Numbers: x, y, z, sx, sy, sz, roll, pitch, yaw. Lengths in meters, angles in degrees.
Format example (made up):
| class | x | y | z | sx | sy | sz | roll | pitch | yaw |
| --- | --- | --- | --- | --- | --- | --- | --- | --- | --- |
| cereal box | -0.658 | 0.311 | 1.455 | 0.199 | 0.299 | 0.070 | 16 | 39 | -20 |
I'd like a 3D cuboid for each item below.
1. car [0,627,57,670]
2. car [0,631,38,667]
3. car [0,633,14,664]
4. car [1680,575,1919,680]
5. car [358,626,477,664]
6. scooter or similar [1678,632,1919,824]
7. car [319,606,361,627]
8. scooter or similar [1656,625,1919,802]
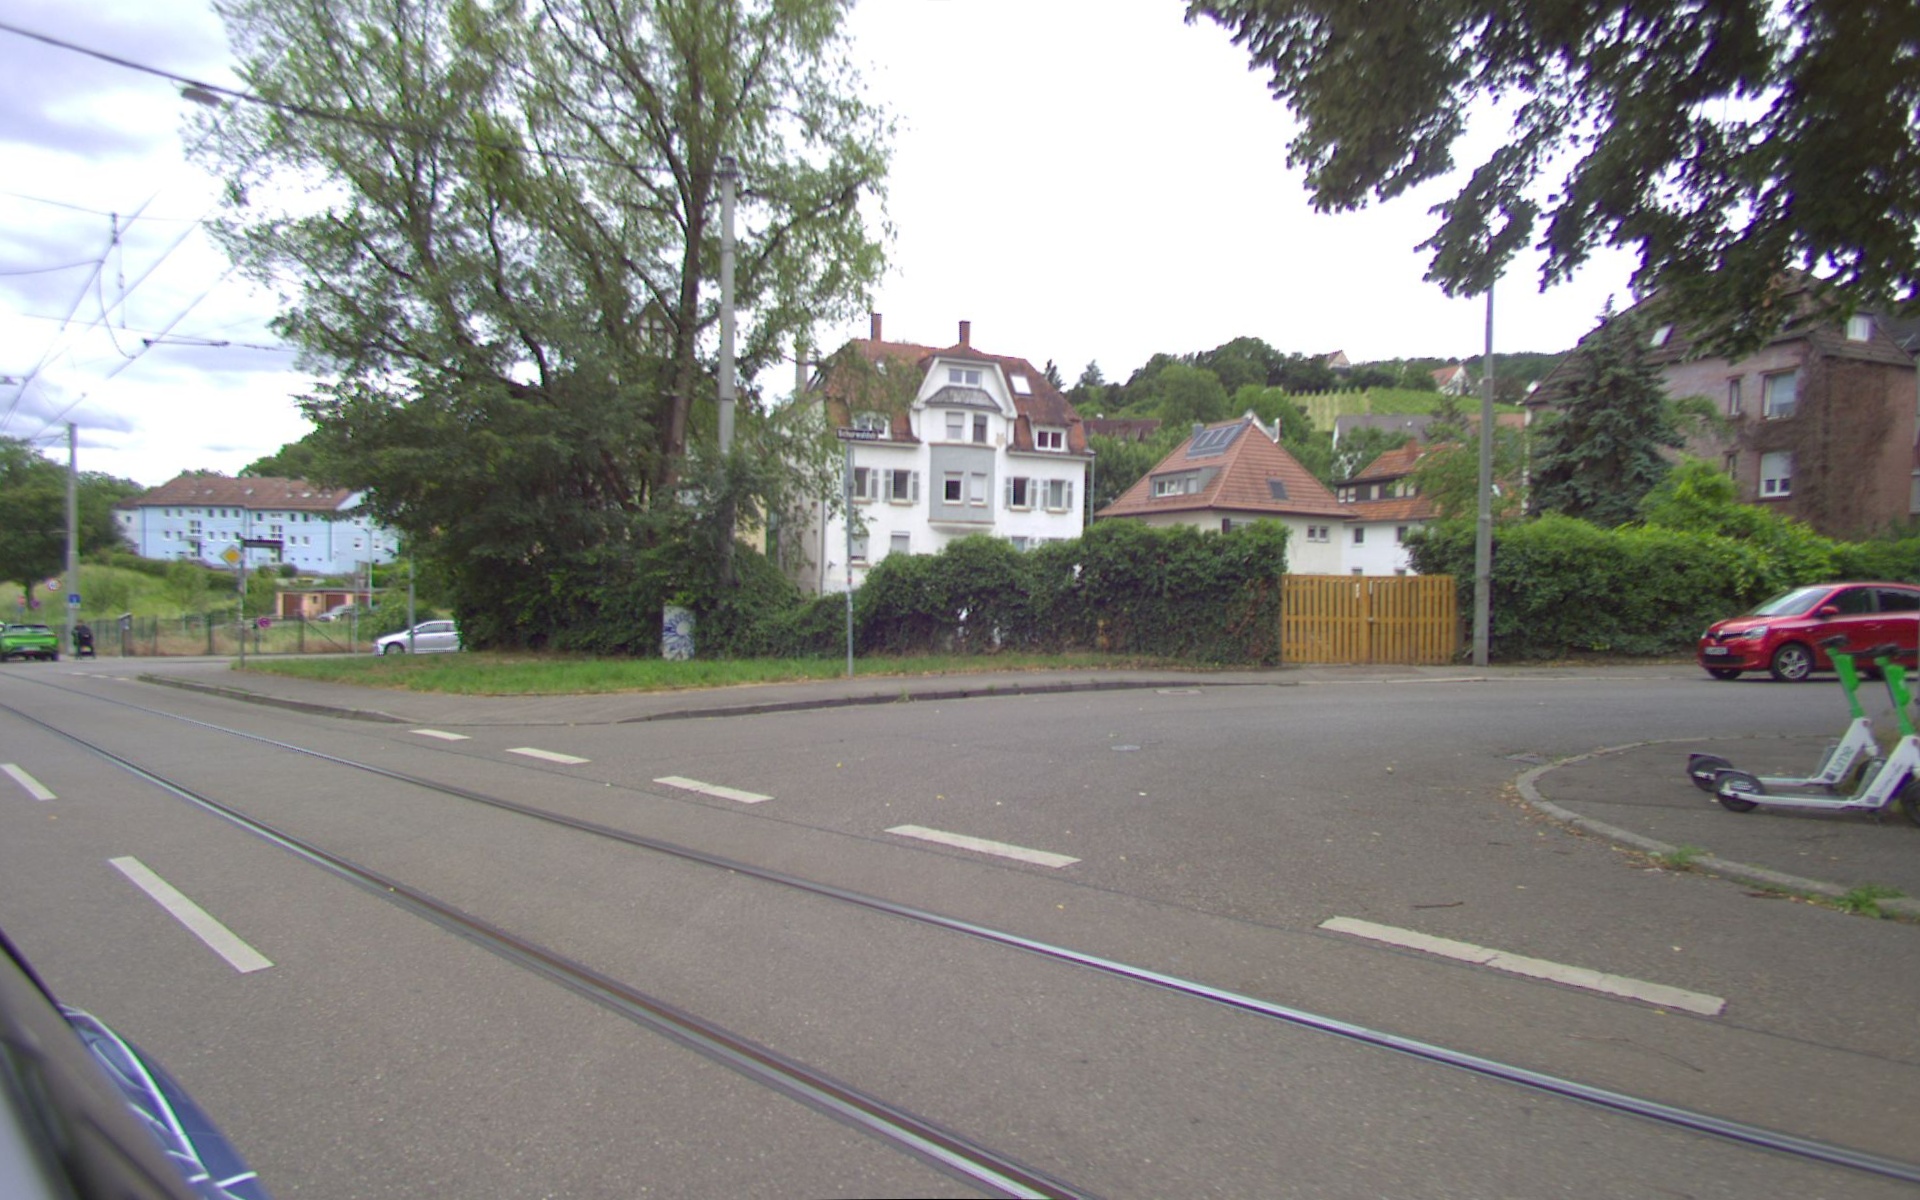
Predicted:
| class | x | y | z | sx | sy | sz | roll | pitch | yaw |
| --- | --- | --- | --- | --- | --- | --- | --- | --- | --- |
| car | -37.110 | 1.898 | 39.891 | 3.946 | 1.552 | 1.832 | -2 | -1 | 41 |
| car | -41.390 | 2.112 | 43.714 | 3.946 | 1.505 | 1.832 | -2 | -3 | 41 |
| car | -47.775 | 2.349 | 49.468 | 3.946 | 1.505 | 1.832 | -2 | -3 | 41 |
| car | 13.829 | 0.400 | 15.966 | 3.567 | 1.489 | 1.748 | -2 | 0 | 5 |
| car | -20.873 | 1.707 | 39.079 | 3.944 | 1.388 | 1.701 | 0 | -1 | -25 |
| scooter or similar | 5.712 | 0.799 | 6.502 | 1.717 | 1.154 | 0.308 | -4 | -2 | 41 |
| car | -57.883 | 1.514 | 94.509 | 1.968 | 1.918 | 4.008 | -1 | -1 | -10 |
| scooter or similar | 6.011 | 0.781 | 7.165 | 1.717 | 1.154 | 0.308 | -4 | -2 | 41 |
